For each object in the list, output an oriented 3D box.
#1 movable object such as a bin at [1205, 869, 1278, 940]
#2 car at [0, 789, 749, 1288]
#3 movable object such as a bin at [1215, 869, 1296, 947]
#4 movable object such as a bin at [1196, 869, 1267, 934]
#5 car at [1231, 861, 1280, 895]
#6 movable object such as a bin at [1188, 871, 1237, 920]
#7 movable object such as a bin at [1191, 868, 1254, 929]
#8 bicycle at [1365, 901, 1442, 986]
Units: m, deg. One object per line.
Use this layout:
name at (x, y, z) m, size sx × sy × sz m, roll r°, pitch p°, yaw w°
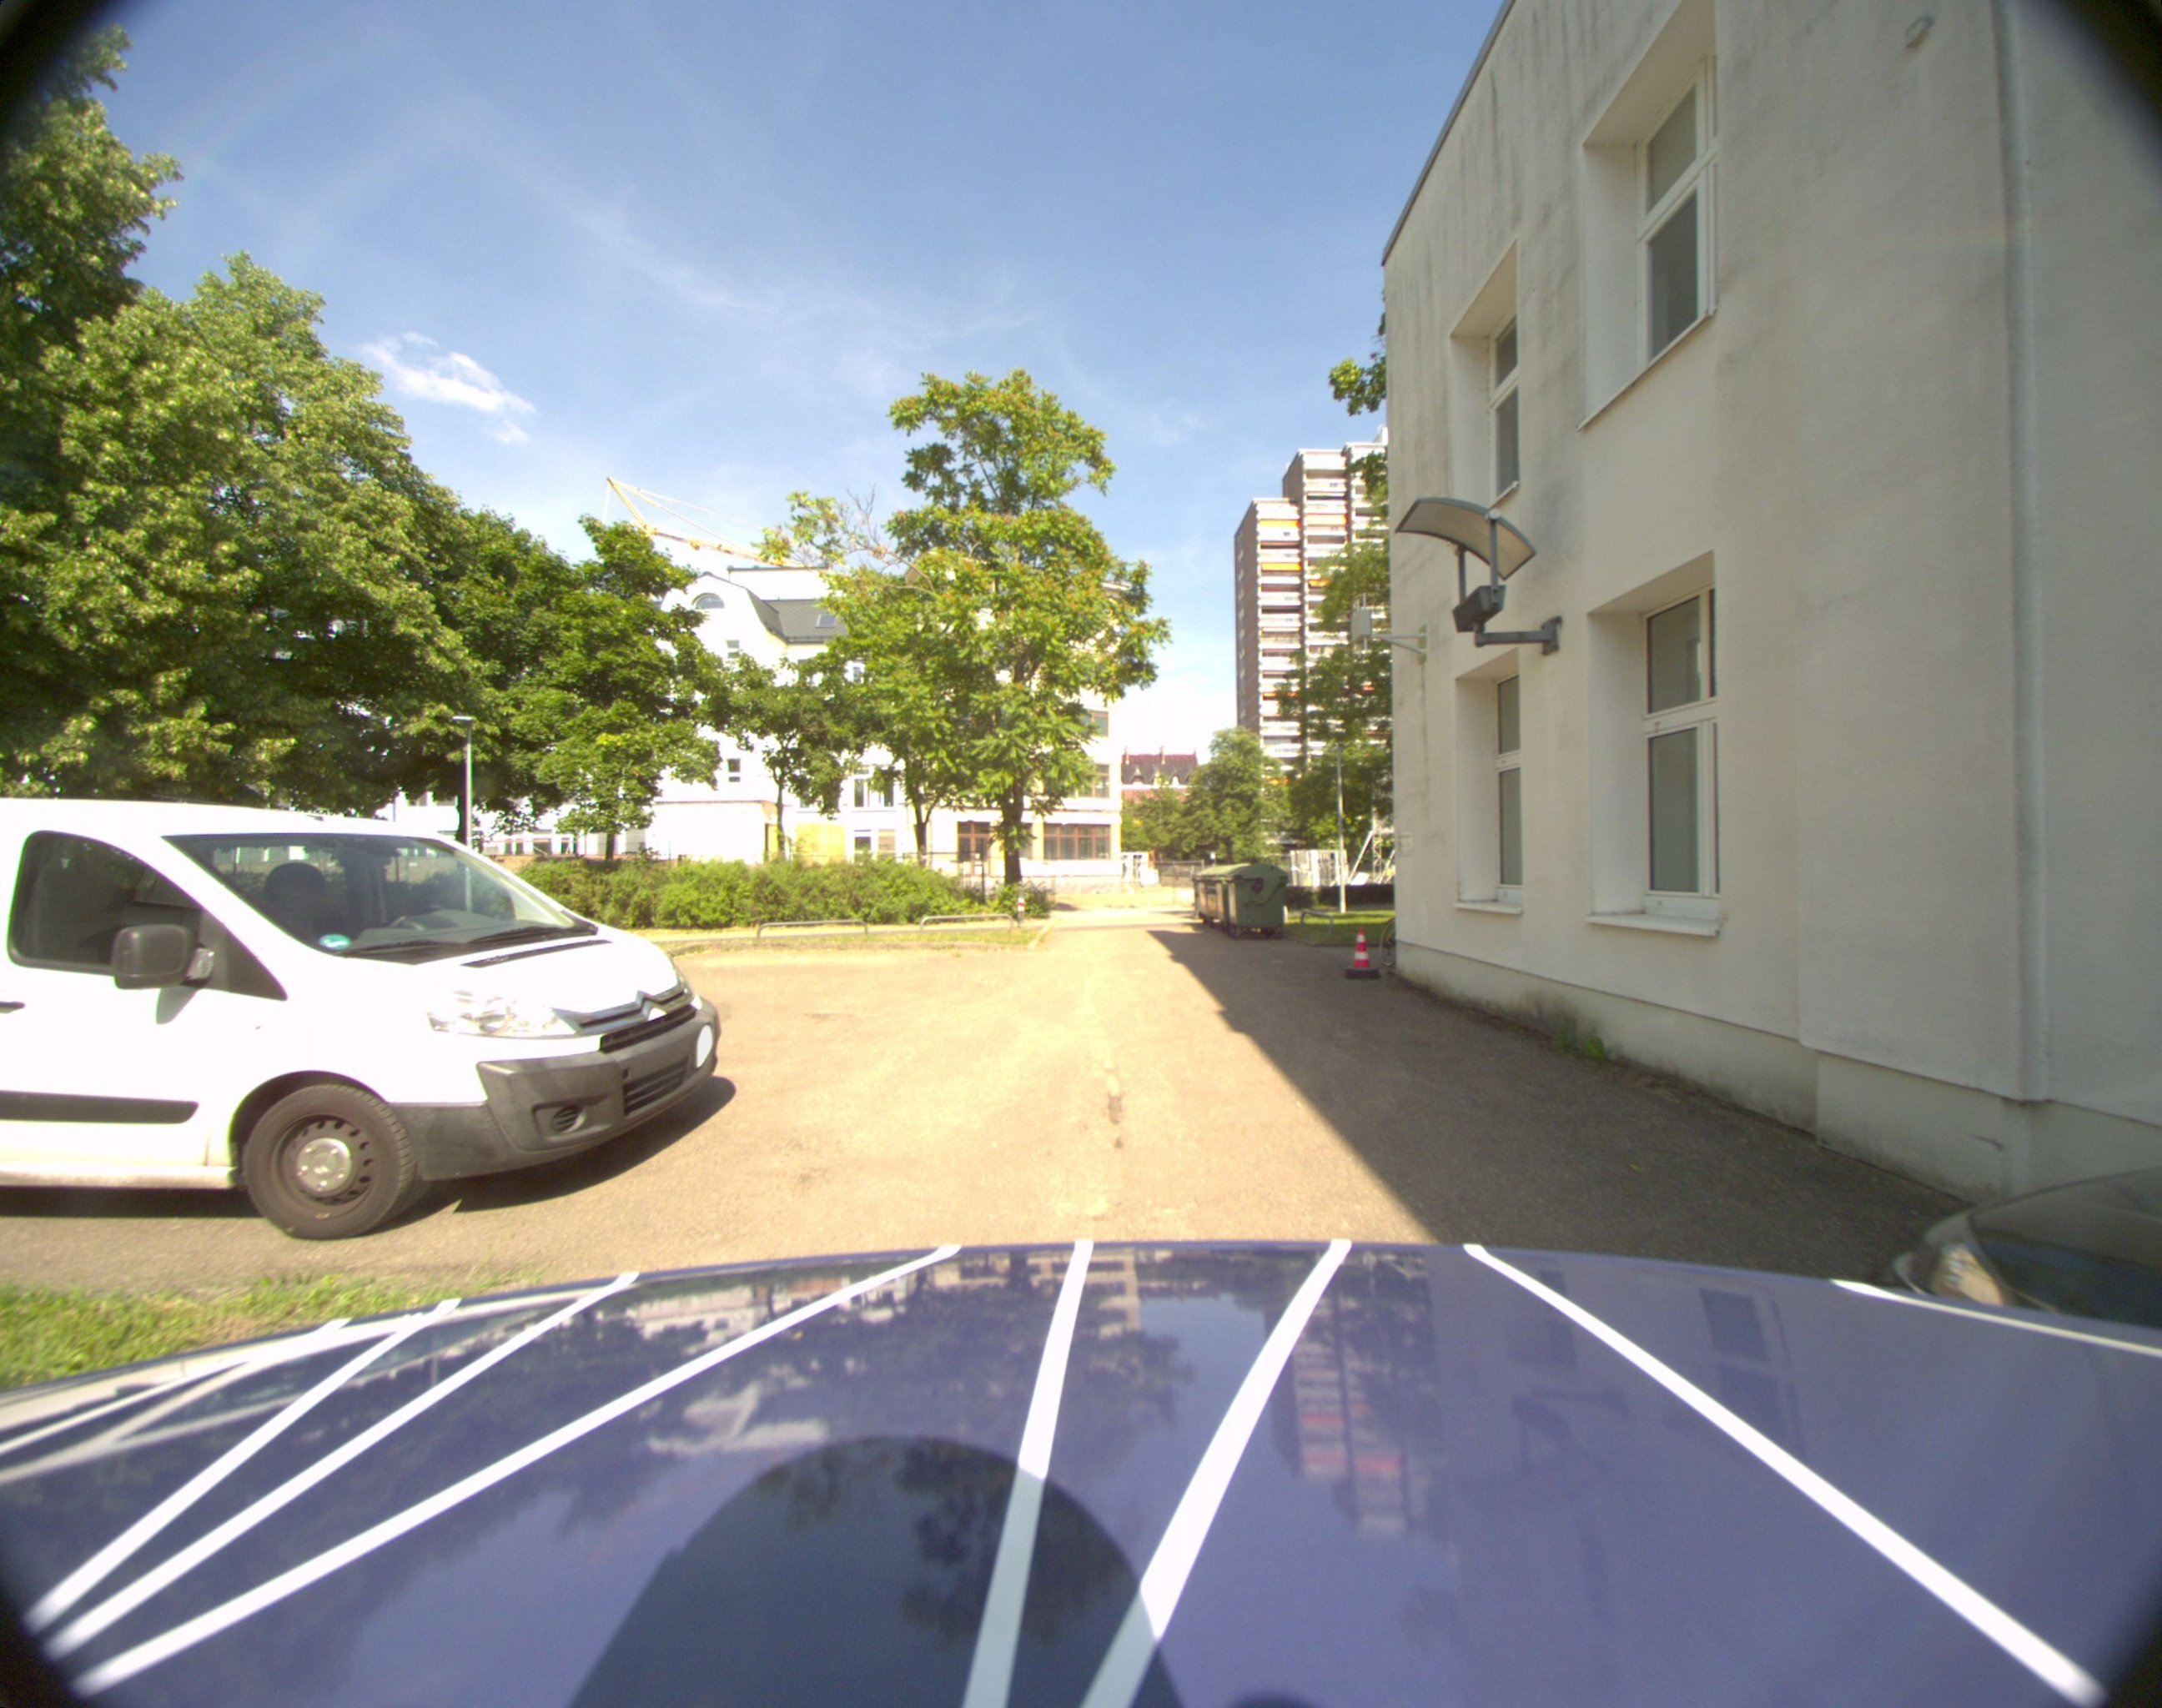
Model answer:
movable object such as a bin at (3.411, 1.052, 16.301) m, size 1.247 × 1.422 × 1.366 m, roll 0°, pitch 0°, yaw 0°
car at (-4.716, 0.759, 3.998) m, size 5.036 × 1.921 × 2.000 m, roll -1°, pitch -1°, yaw 2°
movable object such as a bin at (3.355, 1.022, 14.790) m, size 1.247 × 1.422 × 1.350 m, roll 0°, pitch 0°, yaw 0°
movable object such as a bin at (3.490, 1.080, 17.689) m, size 1.248 × 1.422 × 1.222 m, roll 0°, pitch 0°, yaw -11°
car at (9.987, 1.338, 43.269) m, size 1.917 × 1.769 × 4.320 m, roll -2°, pitch -1°, yaw 22°
movable object such as a bin at (3.951, 1.208, 22.696) m, size 1.245 × 1.388 × 1.406 m, roll -1°, pitch 0°, yaw 18°
movable object such as a bin at (3.528, 1.088, 19.096) m, size 1.248 × 1.472 × 1.338 m, roll 0°, pitch 0°, yaw -5°
bicycle at (4.256, 1.142, 10.110) m, size 0.445 × 0.986 × 1.542 m, roll 0°, pitch -1°, yaw 3°
